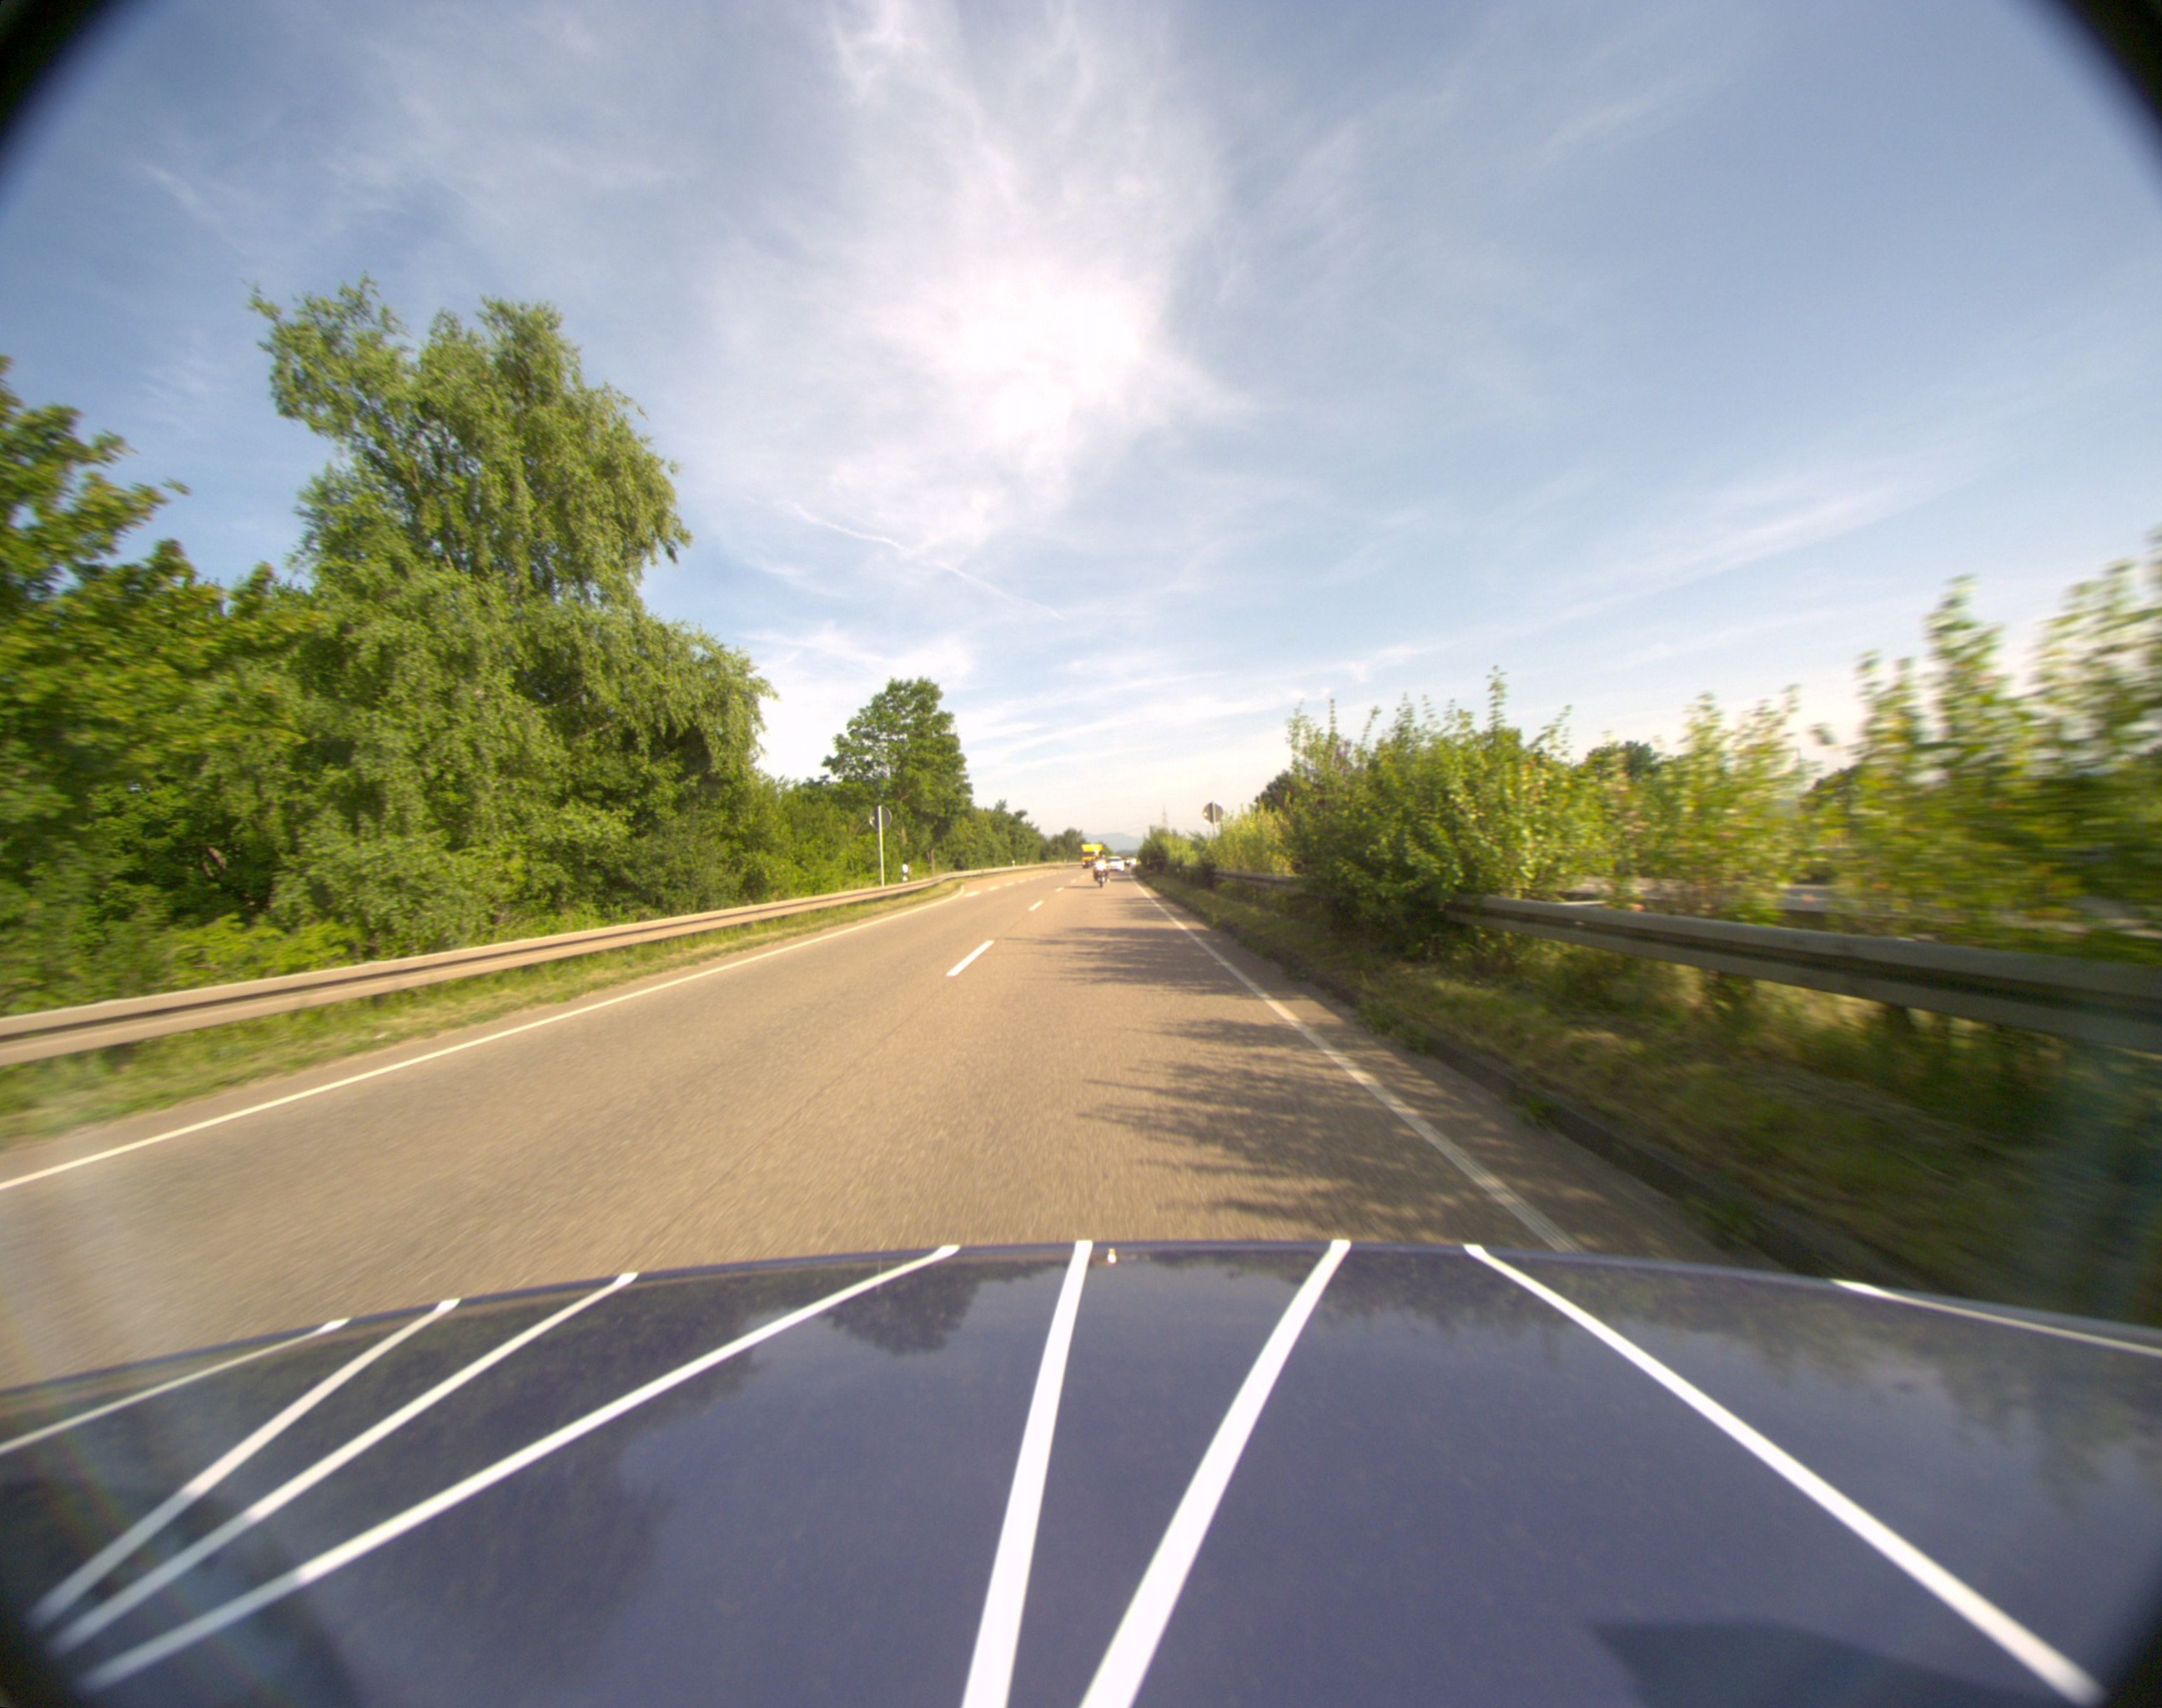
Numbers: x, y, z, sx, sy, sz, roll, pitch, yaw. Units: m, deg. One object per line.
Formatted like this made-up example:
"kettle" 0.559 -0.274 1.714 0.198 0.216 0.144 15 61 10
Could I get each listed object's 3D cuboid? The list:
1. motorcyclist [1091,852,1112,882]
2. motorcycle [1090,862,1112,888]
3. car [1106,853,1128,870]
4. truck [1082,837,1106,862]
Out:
"motorcyclist" 0.987 0.599 36.026 0.937 1.344 1.143 -2 0 3
"motorcycle" 0.985 0.970 35.953 0.937 1.131 2.583 -2 0 3
"car" 3.524 0.711 73.201 1.868 1.454 4.085 -2 0 5
"truck" 1.886 -0.570 108.026 2.785 3.297 10.494 -2 -1 4
